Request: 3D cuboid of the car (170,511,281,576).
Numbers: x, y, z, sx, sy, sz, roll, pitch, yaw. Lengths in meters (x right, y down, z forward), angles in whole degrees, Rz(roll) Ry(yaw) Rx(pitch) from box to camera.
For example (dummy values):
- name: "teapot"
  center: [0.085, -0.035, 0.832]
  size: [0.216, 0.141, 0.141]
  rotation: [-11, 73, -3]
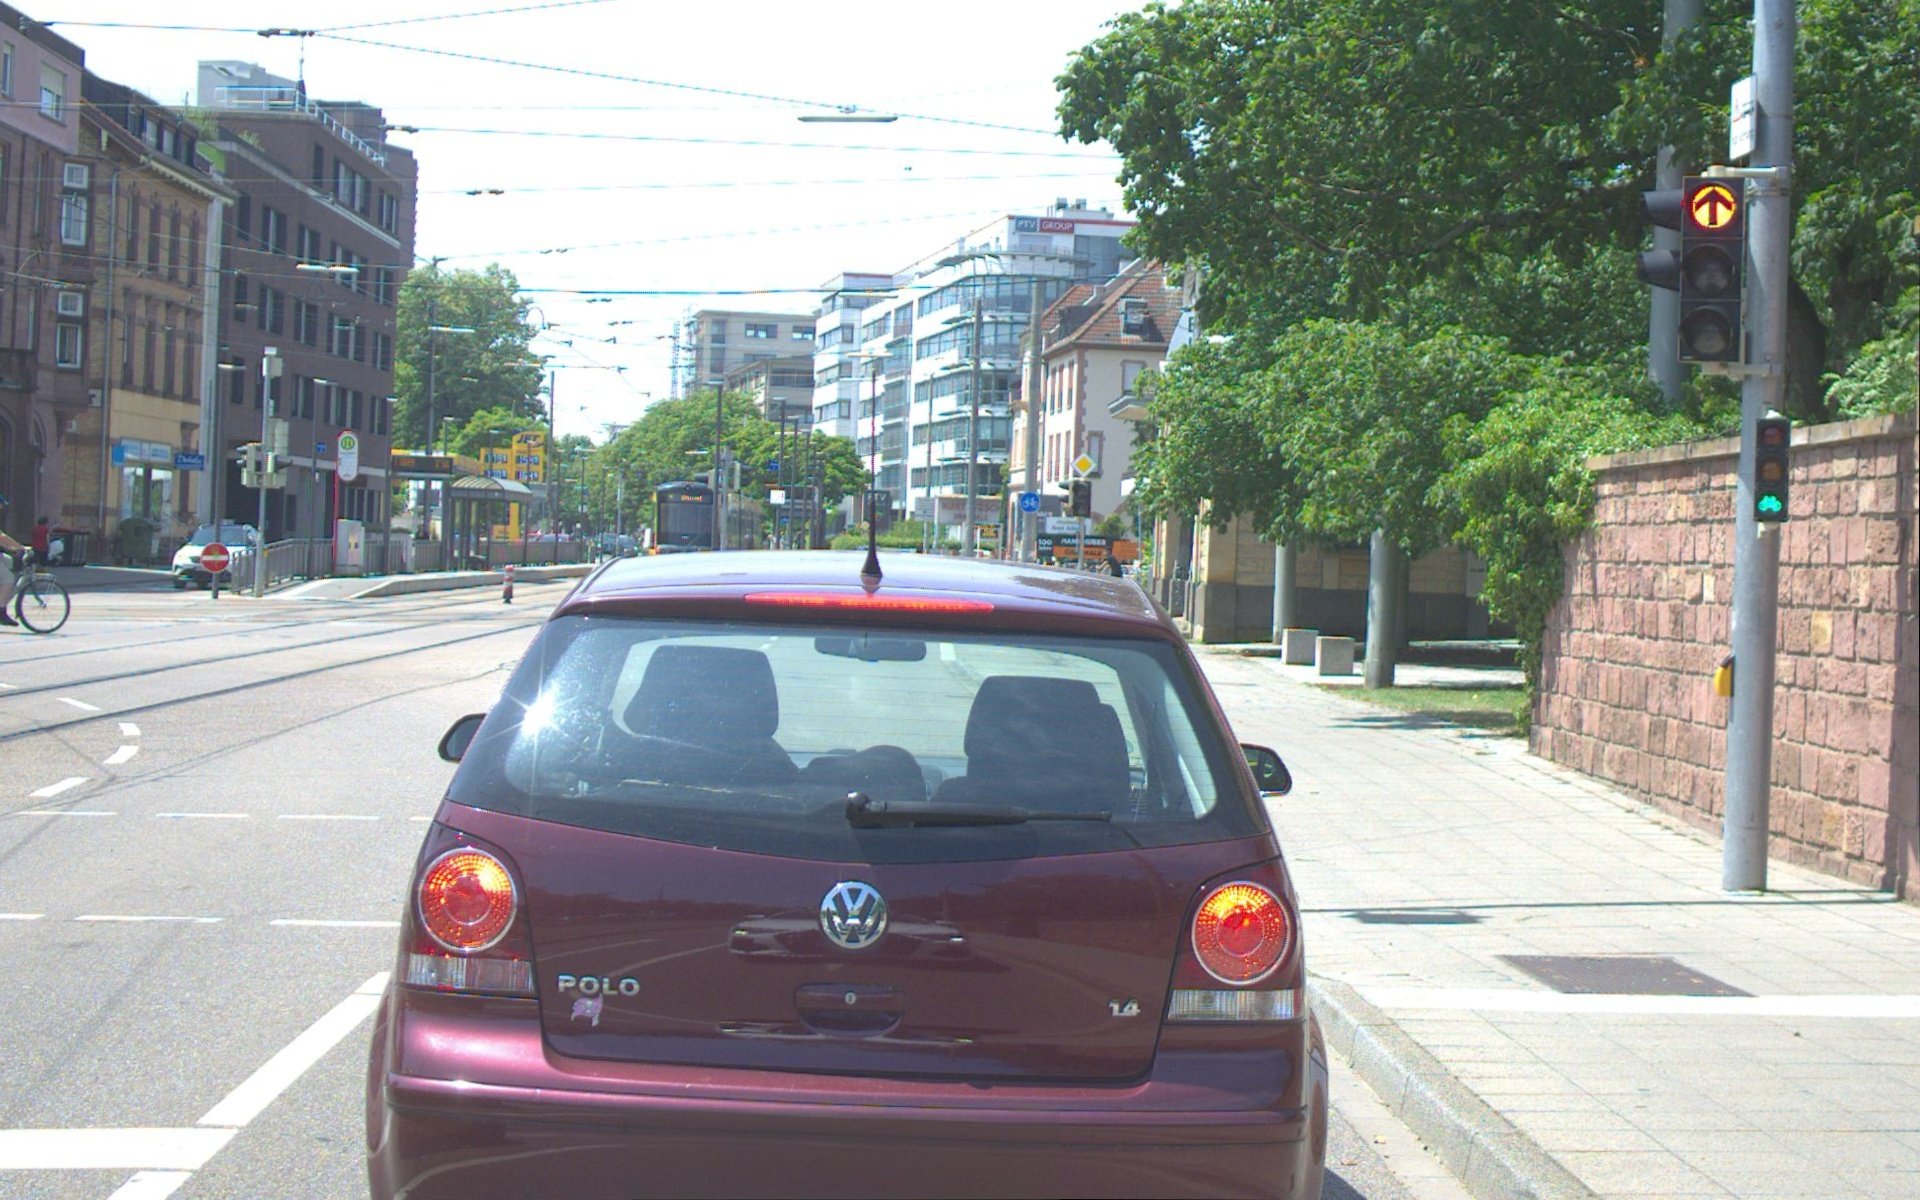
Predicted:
- name: "car"
  center: [-17.542, -1.349, 82.255]
  size: [1.689, 1.457, 4.000]
  rotation: [2, 1, 1]

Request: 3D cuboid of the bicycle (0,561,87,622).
- name: "bicycle"
  center: [-12.266, -0.116, 44.258]
  size: [1.981, 0.780, 0.466]
  rotation: [1, 0, -40]

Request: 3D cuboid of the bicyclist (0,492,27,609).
- name: "bicyclist"
  center: [-12.441, -0.636, 44.132]
  size: [0.750, 1.496, 0.482]
  rotation: [1, 0, -40]

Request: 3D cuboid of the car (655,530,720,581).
- name: "car"
  center: [-9.186, -1.483, 115.944]
  size: [1.938, 1.635, 4.000]
  rotation: [1, 0, -1]

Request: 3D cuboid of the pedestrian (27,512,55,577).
- name: "pedestrian"
  center: [-22.027, -1.324, 82.360]
  size: [0.483, 1.535, 0.538]
  rotation: [1, 0, 3]

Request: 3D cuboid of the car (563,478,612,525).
- name: "car"
  center: [-16.597, -4.388, 153.380]
  size: [1.735, 2.007, 4.000]
  rotation: [2, 1, -1]

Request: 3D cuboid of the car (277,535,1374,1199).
- name: "car"
  center: [-0.275, 0.625, 7.210]
  size: [1.610, 1.458, 4.086]
  rotation: [2, 1, -2]
